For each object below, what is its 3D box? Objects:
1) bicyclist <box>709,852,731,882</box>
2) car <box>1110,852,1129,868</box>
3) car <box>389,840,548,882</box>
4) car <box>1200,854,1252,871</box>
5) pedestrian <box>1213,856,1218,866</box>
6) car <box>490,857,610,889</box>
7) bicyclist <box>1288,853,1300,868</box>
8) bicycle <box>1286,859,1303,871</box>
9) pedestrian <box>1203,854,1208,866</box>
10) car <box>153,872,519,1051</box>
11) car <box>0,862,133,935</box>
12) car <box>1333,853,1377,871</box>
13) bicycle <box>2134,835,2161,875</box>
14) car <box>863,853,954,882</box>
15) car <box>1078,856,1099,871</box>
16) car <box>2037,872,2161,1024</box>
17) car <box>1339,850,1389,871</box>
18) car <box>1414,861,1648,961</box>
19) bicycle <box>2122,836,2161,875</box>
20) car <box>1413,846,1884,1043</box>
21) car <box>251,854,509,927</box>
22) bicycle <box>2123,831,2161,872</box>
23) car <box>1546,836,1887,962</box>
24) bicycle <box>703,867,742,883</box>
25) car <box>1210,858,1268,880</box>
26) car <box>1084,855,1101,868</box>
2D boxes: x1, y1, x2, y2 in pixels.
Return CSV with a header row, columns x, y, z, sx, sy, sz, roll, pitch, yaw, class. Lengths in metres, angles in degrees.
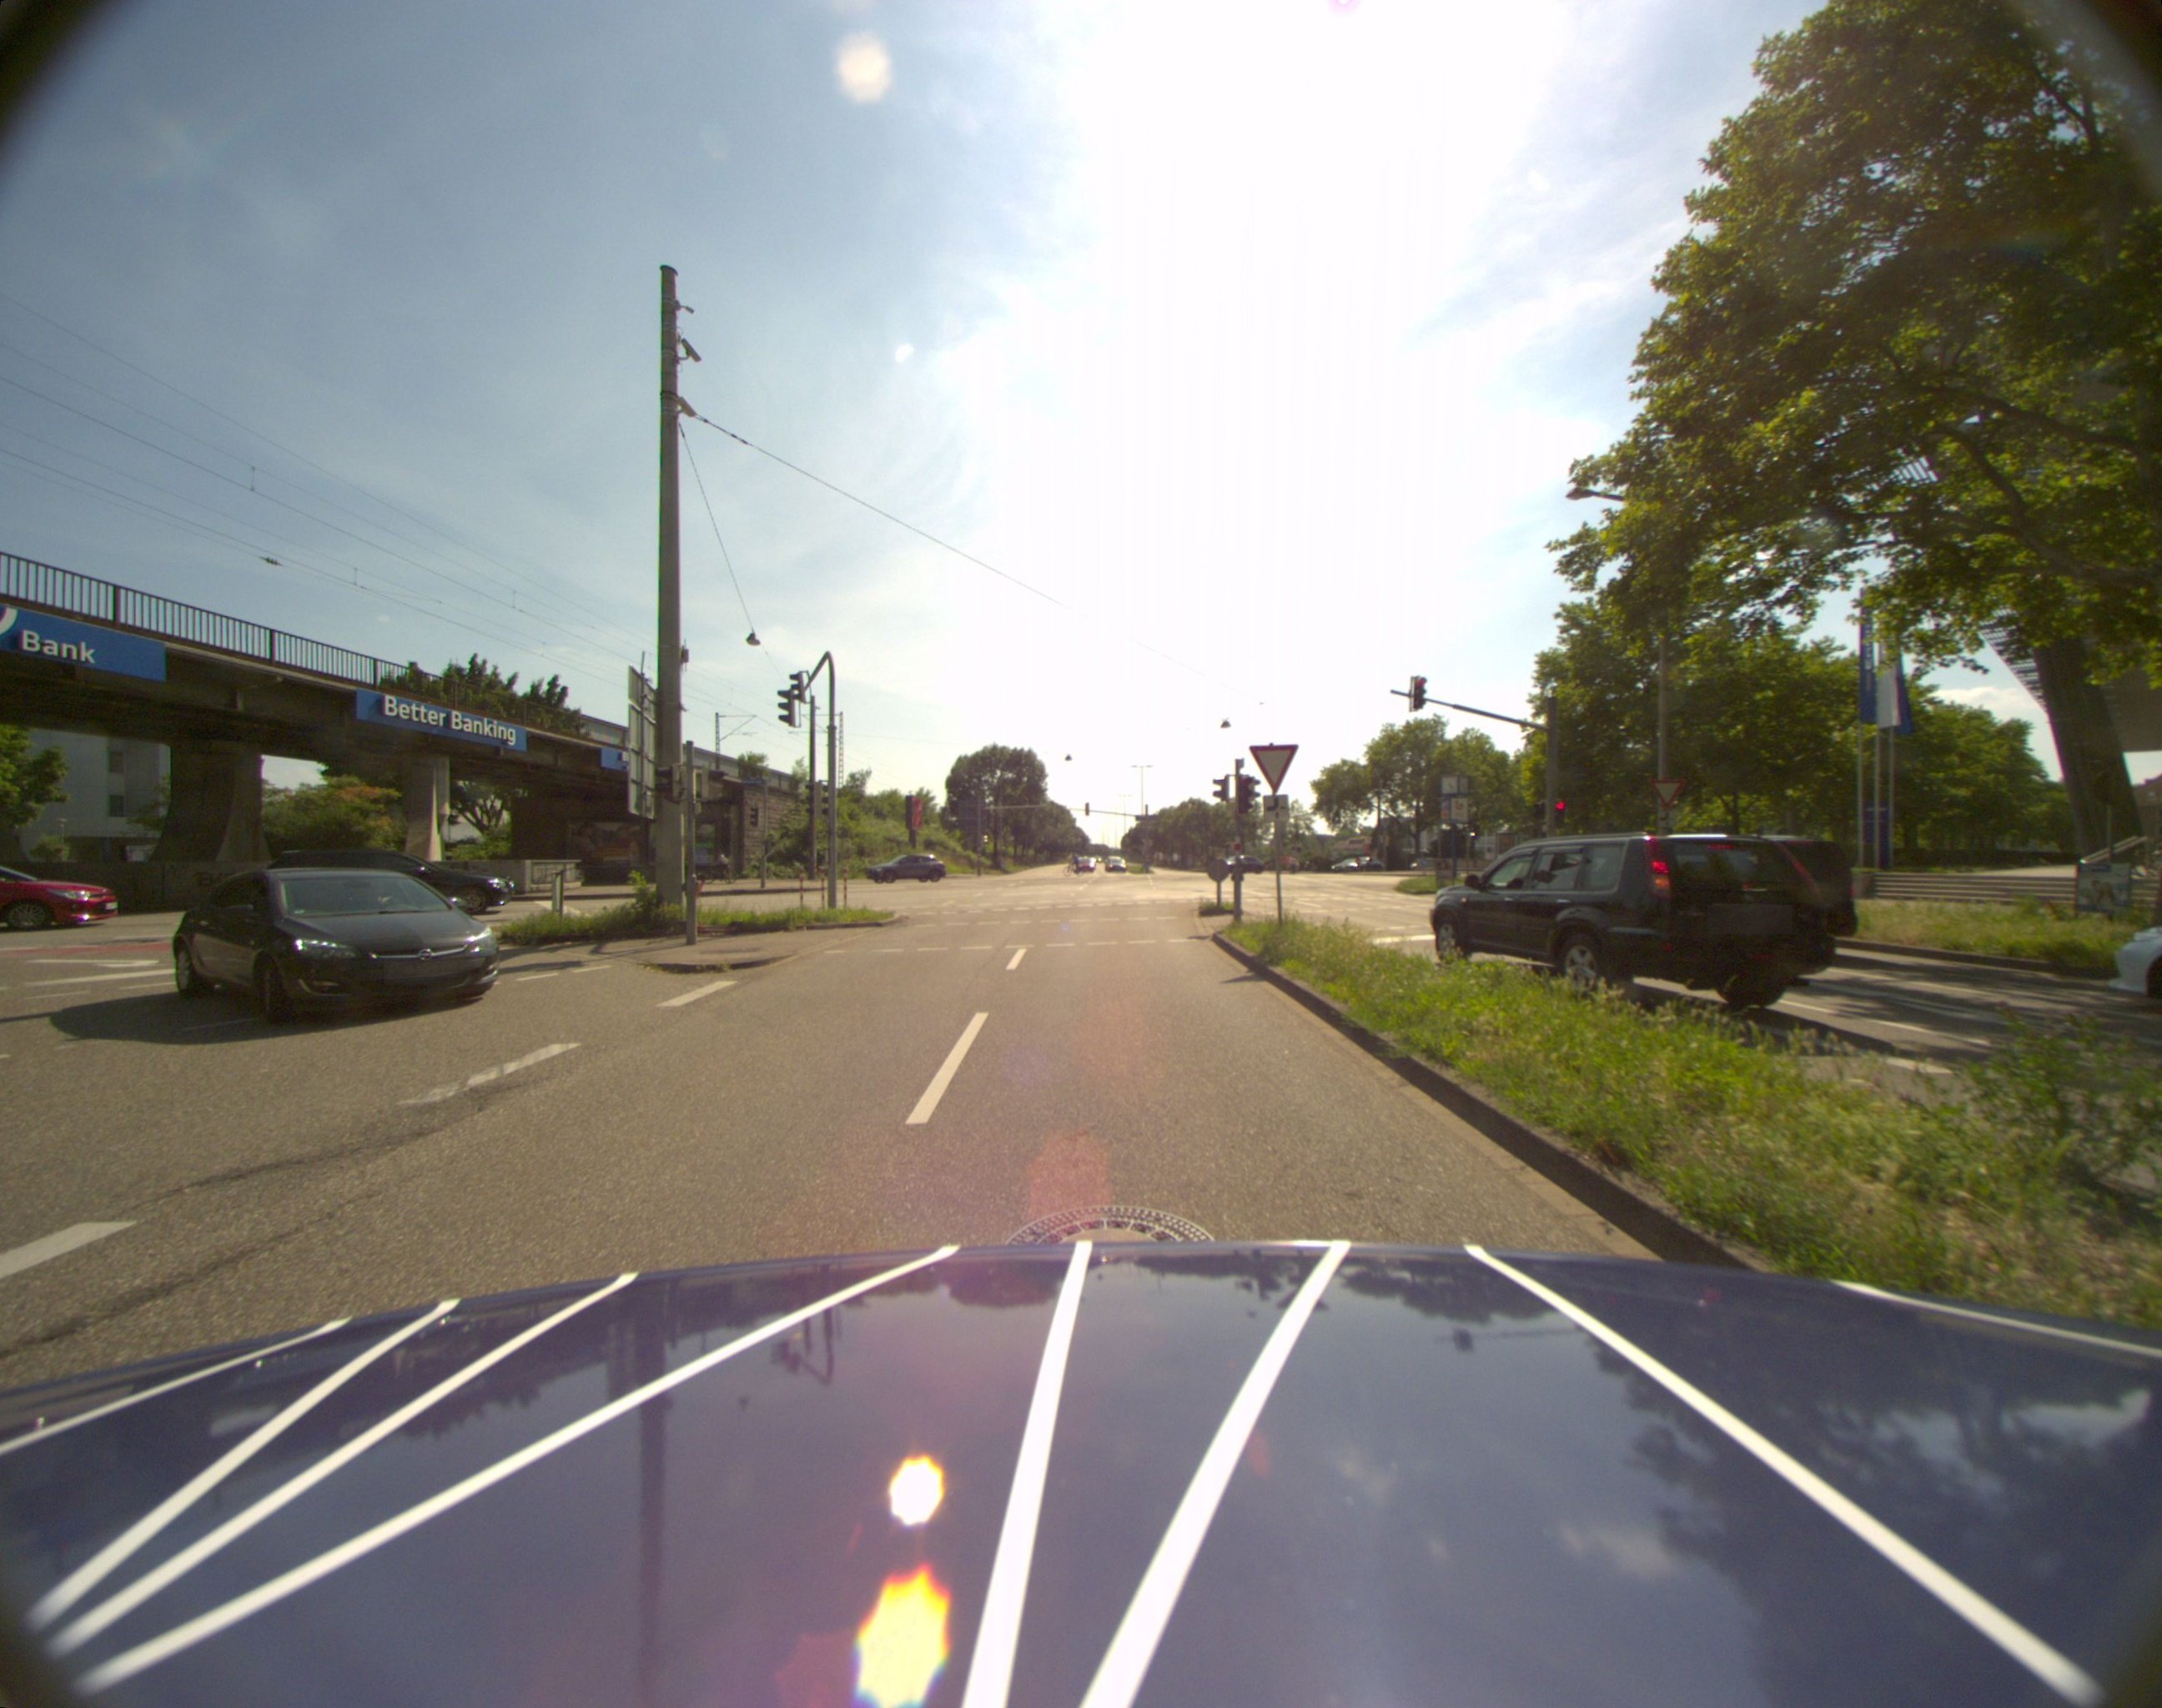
x,y,z,sx,sy,sz,roll,pitch,yaw,class
-19.937,0.727,41.967,1.070,1.624,0.805,0,-2,-29,bicyclist
3.937,0.643,77.604,1.714,1.498,4.003,-1,-2,6,car
-25.042,0.280,31.365,4.984,1.598,1.944,0,0,-35,car
15.764,0.914,82.660,5.150,1.713,2.005,-2,-2,36,car
19.332,0.992,109.349,0.578,1.515,0.880,0,0,-1,pedestrian
-24.377,0.822,35.010,4.450,1.383,1.712,0,-1,-37,car
20.345,0.651,72.586,0.773,1.427,0.921,0,1,-5,bicyclist
20.349,1.037,72.547,0.773,1.047,2.400,0,0,-5,bicycle
18.218,0.827,110.996,0.630,1.699,0.768,0,0,-1,pedestrian
-8.386,0.986,8.494,4.204,1.498,1.831,0,0,30,car
-22.089,0.873,14.923,4.007,1.412,1.703,0,0,-34,car
25.304,0.705,70.183,4.007,1.619,1.768,0,1,-33,car
30.272,0.022,20.645,0.741,1.104,1.881,-1,0,-39,bicycle
-9.602,0.702,42.369,4.569,1.540,1.826,0,0,-34,car
0.782,0.965,75.887,1.714,1.384,4.003,-1,-2,6,car
11.356,0.950,5.763,1.896,1.441,5.004,1,0,1,car
24.251,0.519,65.079,4.439,1.699,1.994,0,0,-39,car
7.630,0.870,13.396,1.766,1.467,3.958,0,0,0,car
30.882,0.047,21.413,0.741,1.104,1.795,-1,0,-39,bicycle
5.623,0.749,8.449,1.812,1.606,4.490,0,0,-1,car
-16.828,0.799,18.635,4.454,1.586,1.995,0,0,-38,car
29.474,-0.069,20.356,0.741,1.104,1.795,-1,0,-39,bicycle
11.250,0.723,14.154,1.943,1.908,5.229,0,-1,0,car
-19.818,1.158,42.026,1.929,0.887,0.816,0,-2,-29,bicycle
11.874,1.122,56.980,4.007,1.603,1.815,0,-2,-30,car
1.460,0.991,93.711,1.714,1.498,4.003,-1,-2,6,car
